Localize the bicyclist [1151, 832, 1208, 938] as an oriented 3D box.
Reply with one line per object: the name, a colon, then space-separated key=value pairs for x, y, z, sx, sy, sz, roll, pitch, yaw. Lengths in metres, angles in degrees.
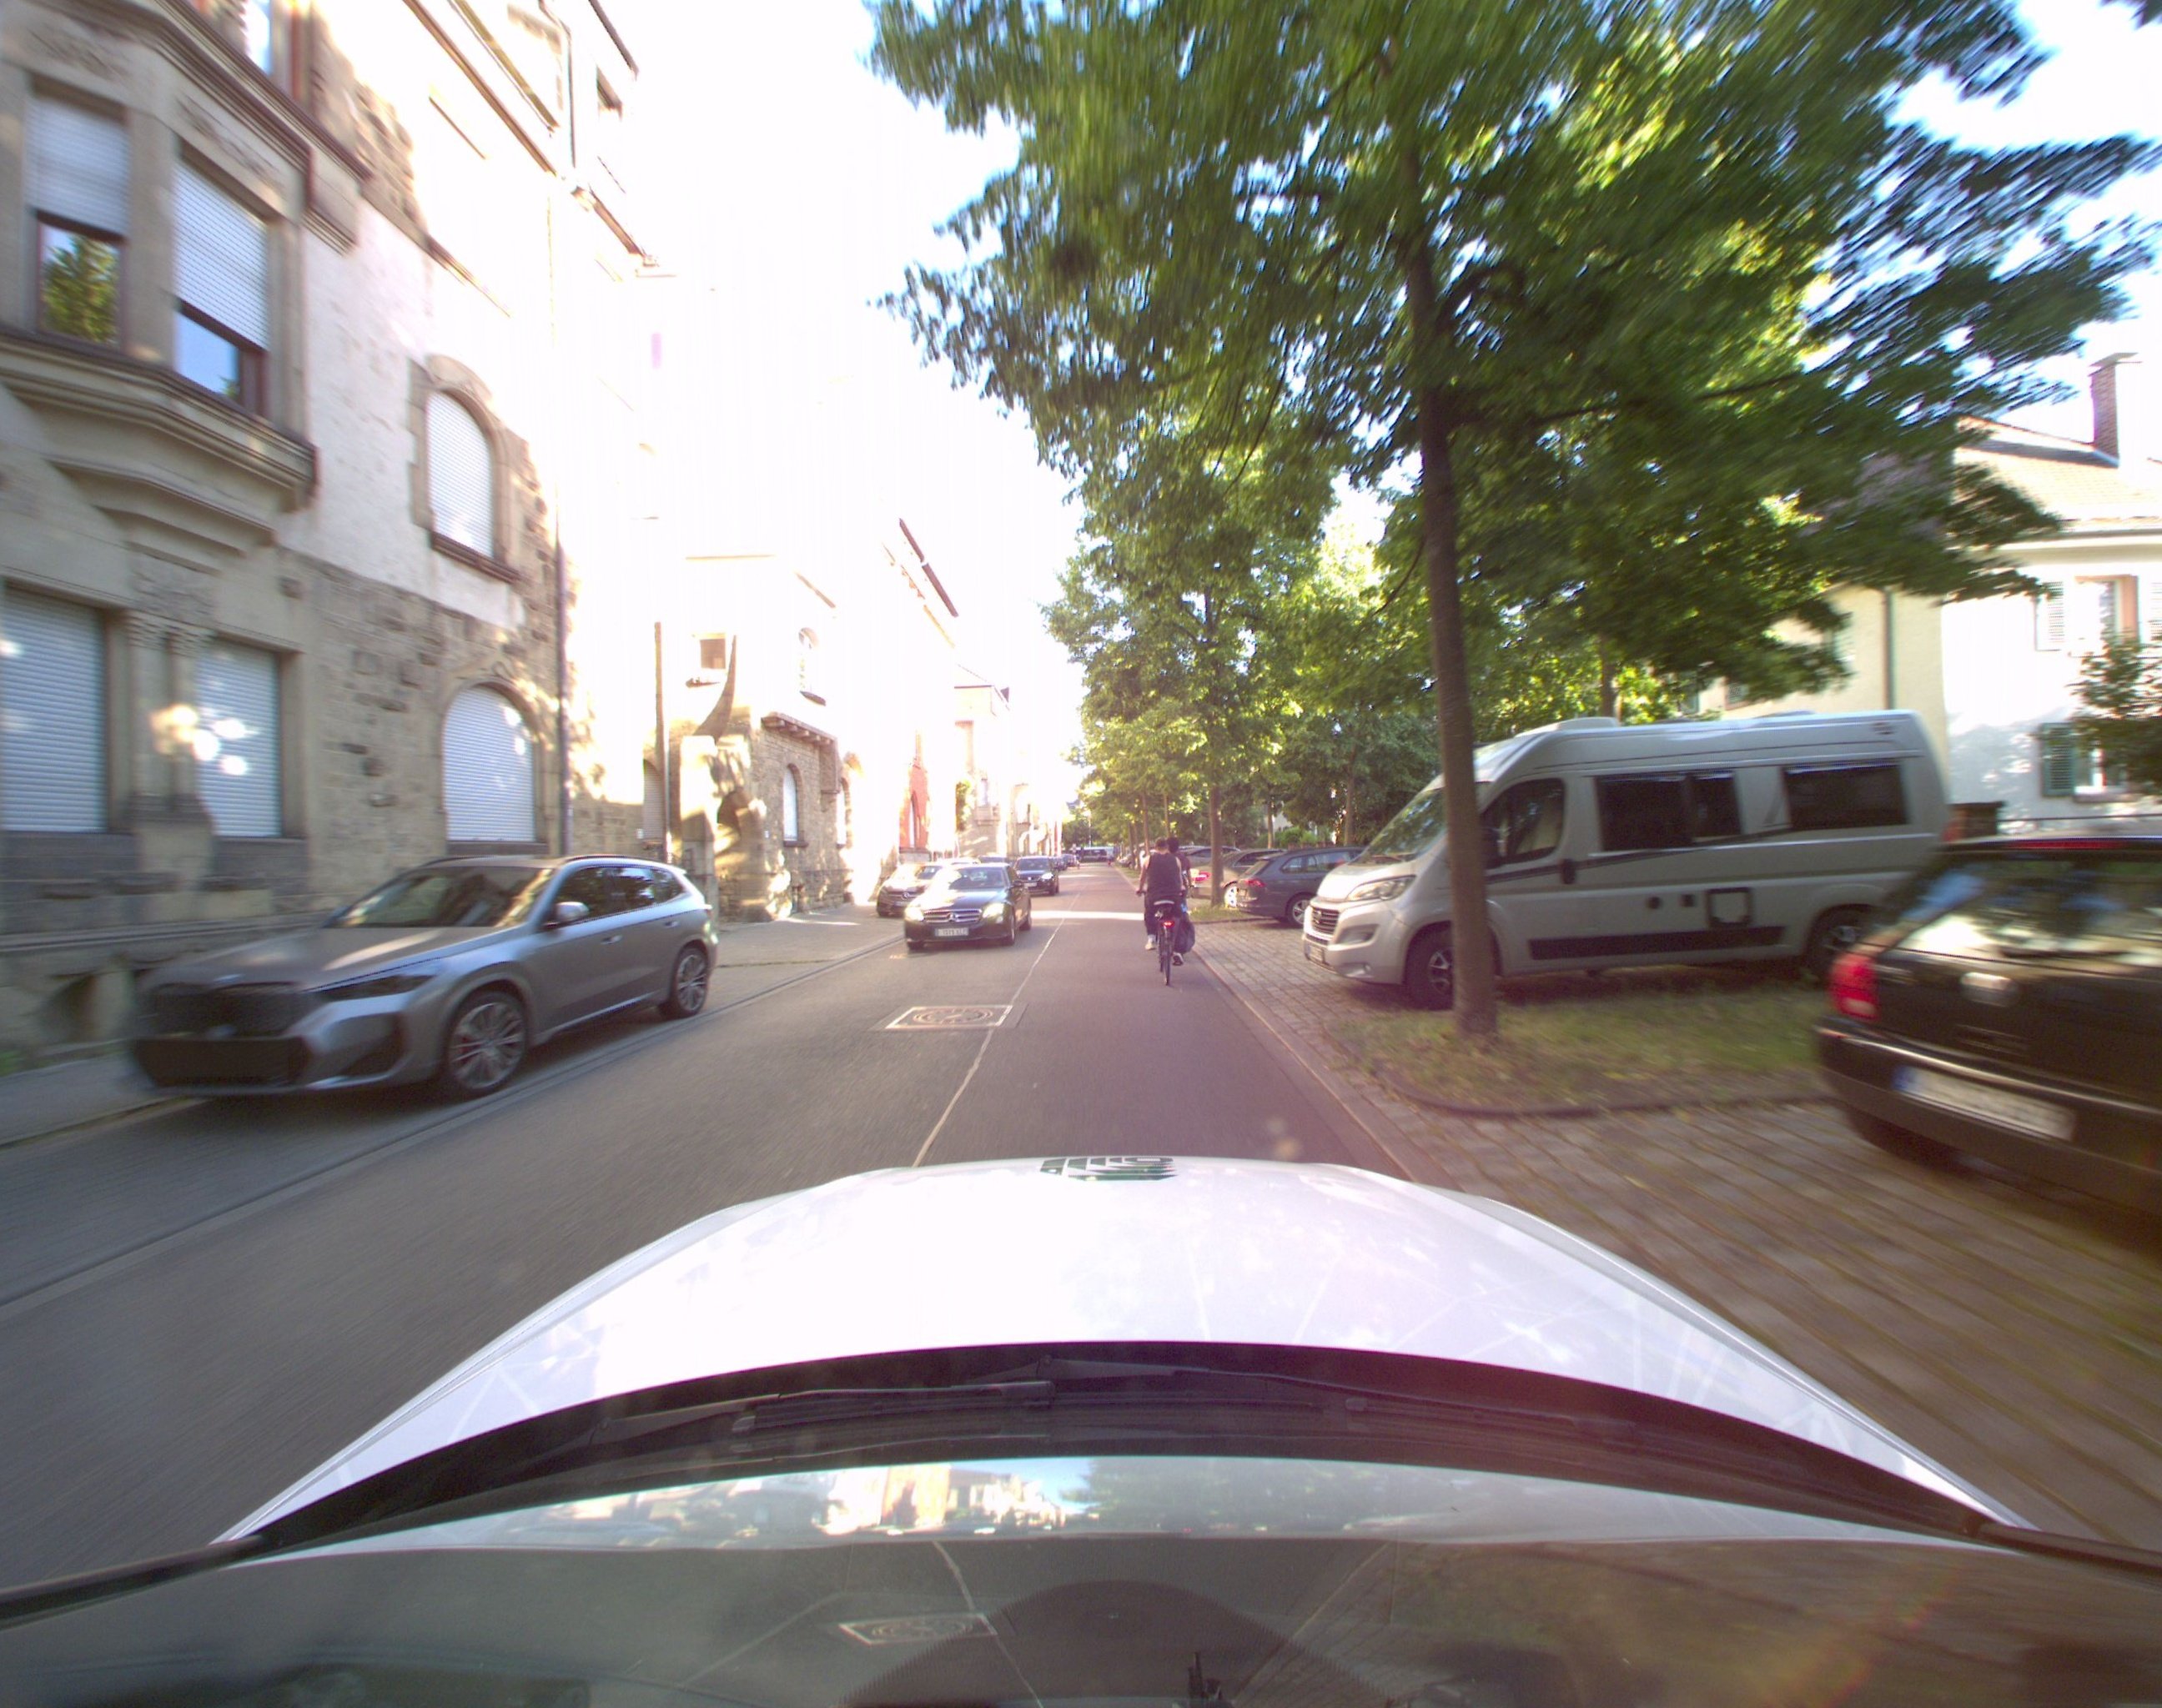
bicyclist: x=1.478 y=0.454 z=12.389 sx=0.716 sy=1.527 sz=0.972 roll=-2 pitch=-1 yaw=1

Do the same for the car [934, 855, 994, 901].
car: x=-4.200 y=0.849 z=29.613 sx=1.485 sy=1.517 sz=3.776 roll=2 pitch=-1 yaw=1

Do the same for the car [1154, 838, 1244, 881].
car: x=5.825 y=0.276 z=40.637 sx=4.226 sy=1.840 sz=1.856 roll=-3 pitch=-1 yaw=2

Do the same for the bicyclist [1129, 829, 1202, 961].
bicyclist: x=1.018 y=0.491 z=10.037 sx=0.704 sy=1.527 sz=0.971 roll=-2 pitch=-1 yaw=-3

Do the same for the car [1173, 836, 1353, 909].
car: x=4.689 y=0.475 z=21.354 sx=4.232 sy=1.606 sz=1.752 roll=-3 pitch=-1 yaw=-2

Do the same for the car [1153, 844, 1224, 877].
car: x=6.690 y=0.420 z=51.146 sx=4.226 sy=1.797 sz=1.856 roll=-3 pitch=-1 yaw=2

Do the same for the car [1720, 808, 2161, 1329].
car: x=4.773 y=0.527 z=2.943 sx=3.489 sy=1.472 sz=1.751 roll=-3 pitch=-1 yaw=0

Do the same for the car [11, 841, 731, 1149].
car: x=-4.854 y=0.812 z=6.686 sx=2.043 sy=1.622 sz=4.393 roll=-2 pitch=-1 yaw=-1

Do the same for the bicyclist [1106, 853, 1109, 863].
bicyclist: x=3.582 y=0.535 z=110.949 sx=0.415 sy=1.350 sz=0.430 roll=-2 pitch=-1 yaw=1

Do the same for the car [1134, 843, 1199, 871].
car: x=6.400 y=0.223 z=61.263 sx=4.738 sy=1.780 sz=1.856 roll=-3 pitch=-1 yaw=2

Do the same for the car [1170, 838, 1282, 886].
car: x=5.846 y=0.343 z=33.222 sx=4.226 sy=1.647 sz=1.856 roll=-3 pitch=-1 yaw=2

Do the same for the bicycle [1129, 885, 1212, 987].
bicycle: x=1.056 y=0.949 z=10.045 sx=0.694 sy=1.073 sz=1.966 roll=-2 pitch=-1 yaw=-3

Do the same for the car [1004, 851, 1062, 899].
car: x=-1.796 y=0.768 z=31.544 sx=1.760 sy=1.599 sz=4.091 roll=-4 pitch=-1 yaw=1

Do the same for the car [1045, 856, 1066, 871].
car: x=-2.754 y=1.087 z=88.658 sx=1.986 sy=1.530 sz=4.001 roll=-2 pitch=-1 yaw=2

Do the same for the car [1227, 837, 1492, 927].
car: x=5.233 y=0.521 z=15.778 sx=4.484 sy=1.453 sz=1.817 roll=-2 pitch=-1 yaw=2

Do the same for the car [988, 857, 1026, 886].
car: x=-4.071 y=0.955 z=45.270 sx=1.609 sy=1.482 sz=4.019 roll=2 pitch=-1 yaw=1

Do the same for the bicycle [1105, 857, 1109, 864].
bicycle: x=3.554 y=0.868 z=111.010 sx=0.539 sy=0.828 sz=1.919 roll=-2 pitch=-1 yaw=2

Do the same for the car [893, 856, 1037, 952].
car: x=-1.985 y=0.844 z=15.284 sx=1.889 sy=1.486 sz=4.383 roll=-2 pitch=-1 yaw=2

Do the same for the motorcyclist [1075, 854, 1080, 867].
motorcyclist: x=-0.401 y=0.716 z=89.674 sx=0.549 sy=1.448 sz=0.688 roll=-2 pitch=0 yaw=-1

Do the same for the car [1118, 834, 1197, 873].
car: x=7.287 y=-0.037 z=77.965 sx=7.304 sy=3.282 sz=2.224 roll=-3 pitch=-1 yaw=2

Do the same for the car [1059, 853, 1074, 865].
car: x=-2.060 y=0.738 z=117.808 sx=1.986 sy=1.530 sz=4.001 roll=-2 pitch=-1 yaw=2

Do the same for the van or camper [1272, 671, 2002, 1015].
van or camper: x=5.011 y=-0.087 z=8.075 sx=5.557 sy=2.536 sz=2.268 roll=-4 pitch=-1 yaw=-1

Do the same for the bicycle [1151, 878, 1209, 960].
bicycle: x=1.470 y=0.938 z=12.322 sx=0.554 sy=1.073 sz=1.967 roll=-2 pitch=0 yaw=-2

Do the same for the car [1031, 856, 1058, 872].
car: x=-3.042 y=0.870 z=69.131 sx=1.964 sy=1.320 sz=4.001 roll=-2 pitch=-1 yaw=2

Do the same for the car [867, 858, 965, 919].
car: x=-4.517 y=0.907 z=22.917 sx=1.748 sy=1.517 sz=4.115 roll=2 pitch=-1 yaw=1

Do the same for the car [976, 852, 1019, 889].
car: x=-3.999 y=0.799 z=39.592 sx=1.625 sy=1.665 sz=3.968 roll=-2 pitch=-1 yaw=0

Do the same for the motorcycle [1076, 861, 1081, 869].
motorcycle: x=-0.278 y=1.178 z=89.719 sx=0.549 sy=0.801 sz=1.307 roll=-2 pitch=0 yaw=-1
